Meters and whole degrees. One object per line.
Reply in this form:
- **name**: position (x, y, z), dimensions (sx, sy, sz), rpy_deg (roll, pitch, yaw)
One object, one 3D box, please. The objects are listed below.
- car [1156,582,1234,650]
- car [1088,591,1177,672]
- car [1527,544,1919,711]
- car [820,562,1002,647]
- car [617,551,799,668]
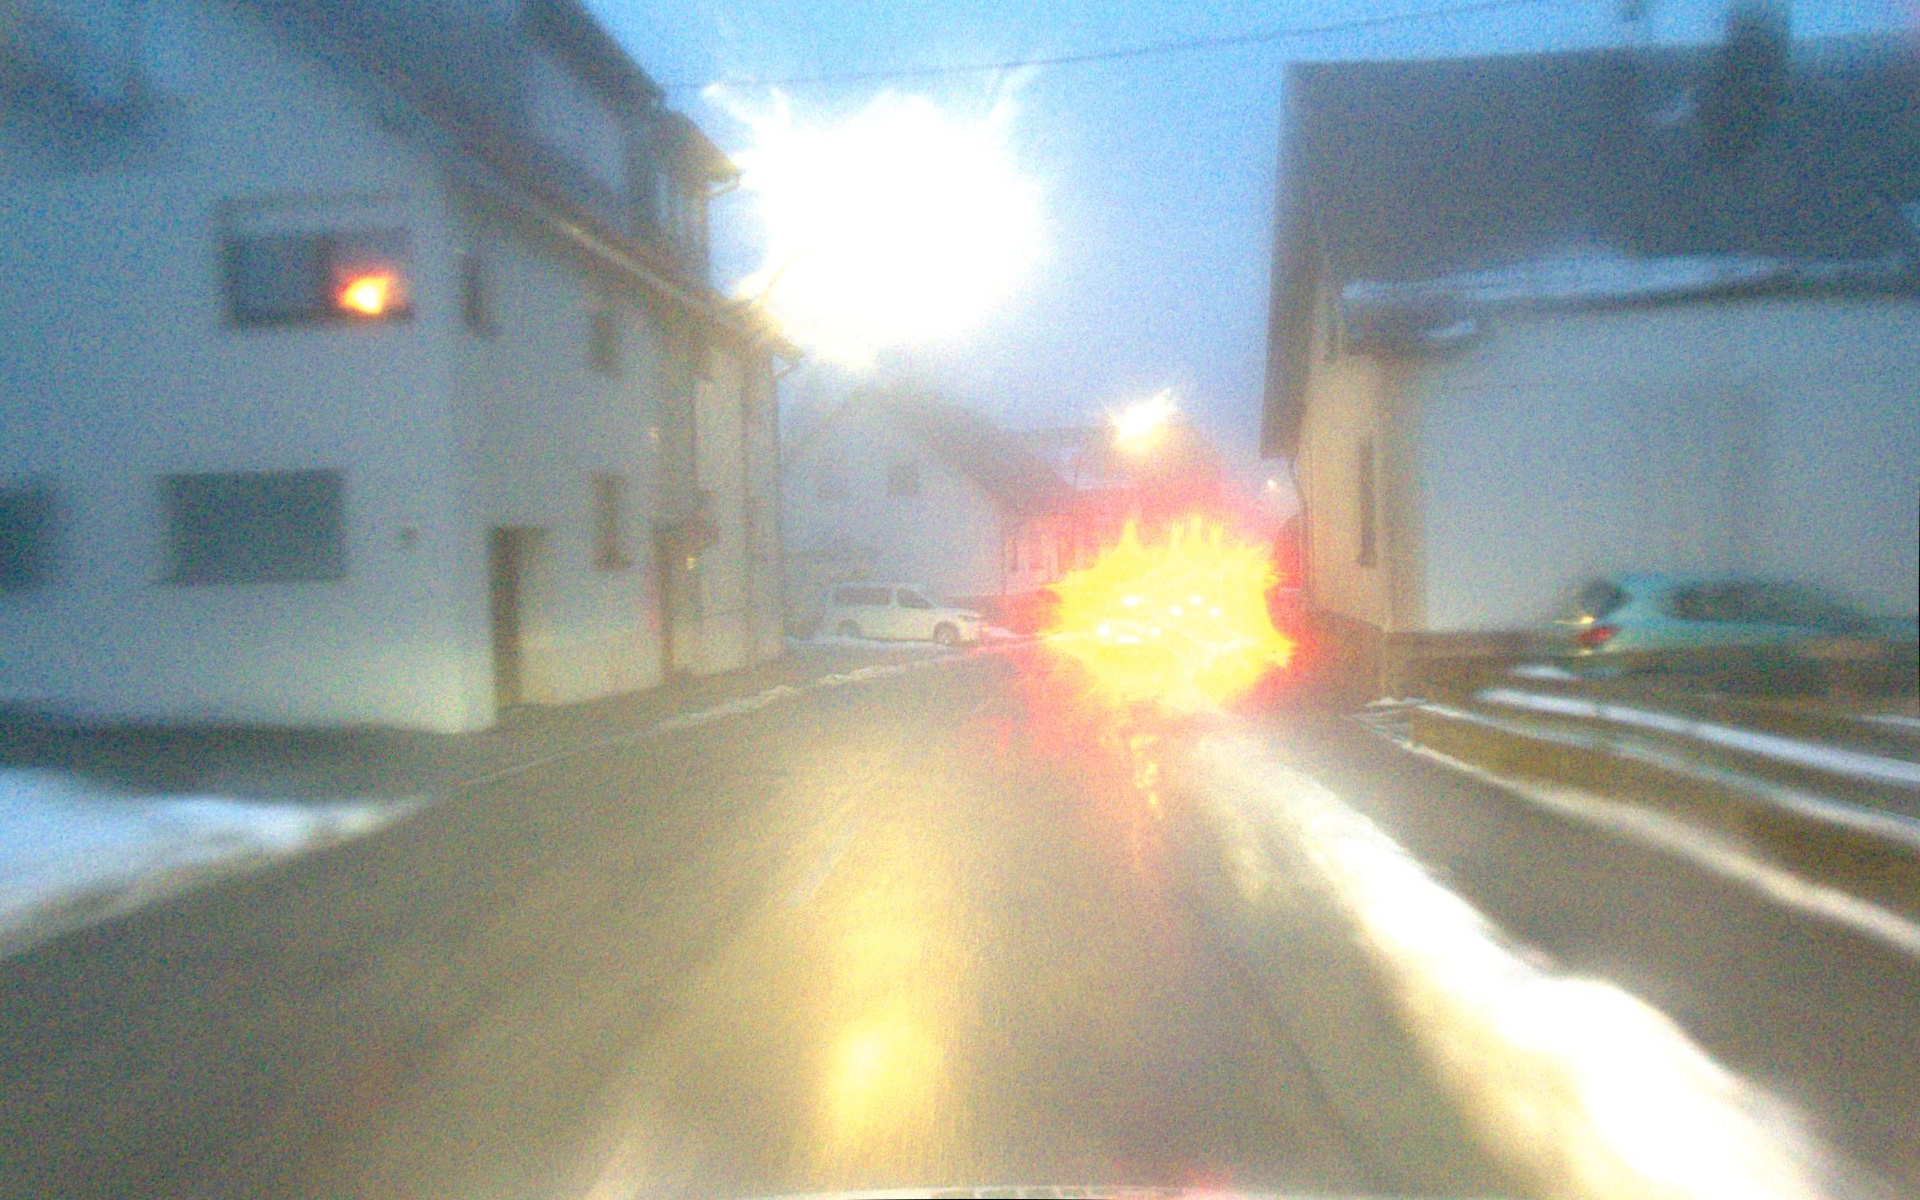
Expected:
- **car**: position (7.898, 0.502, 55.389), dimensions (1.951, 1.869, 4.005), rpy_deg (-3, 3, 16)
- **car**: position (4.267, 0.734, 40.430), dimensions (1.951, 1.533, 4.005), rpy_deg (-3, 3, 8)
- **car**: position (7.774, 0.227, 16.143), dimensions (3.904, 1.478, 1.716), rpy_deg (0, 3, 3)
- **car**: position (-1.371, 0.123, 46.713), dimensions (4.634, 2.048, 2.002), rpy_deg (-3, 3, 19)
- **car**: position (-5.863, 0.179, 38.304), dimensions (3.918, 2.316, 1.994), rpy_deg (-5, 3, -12)
